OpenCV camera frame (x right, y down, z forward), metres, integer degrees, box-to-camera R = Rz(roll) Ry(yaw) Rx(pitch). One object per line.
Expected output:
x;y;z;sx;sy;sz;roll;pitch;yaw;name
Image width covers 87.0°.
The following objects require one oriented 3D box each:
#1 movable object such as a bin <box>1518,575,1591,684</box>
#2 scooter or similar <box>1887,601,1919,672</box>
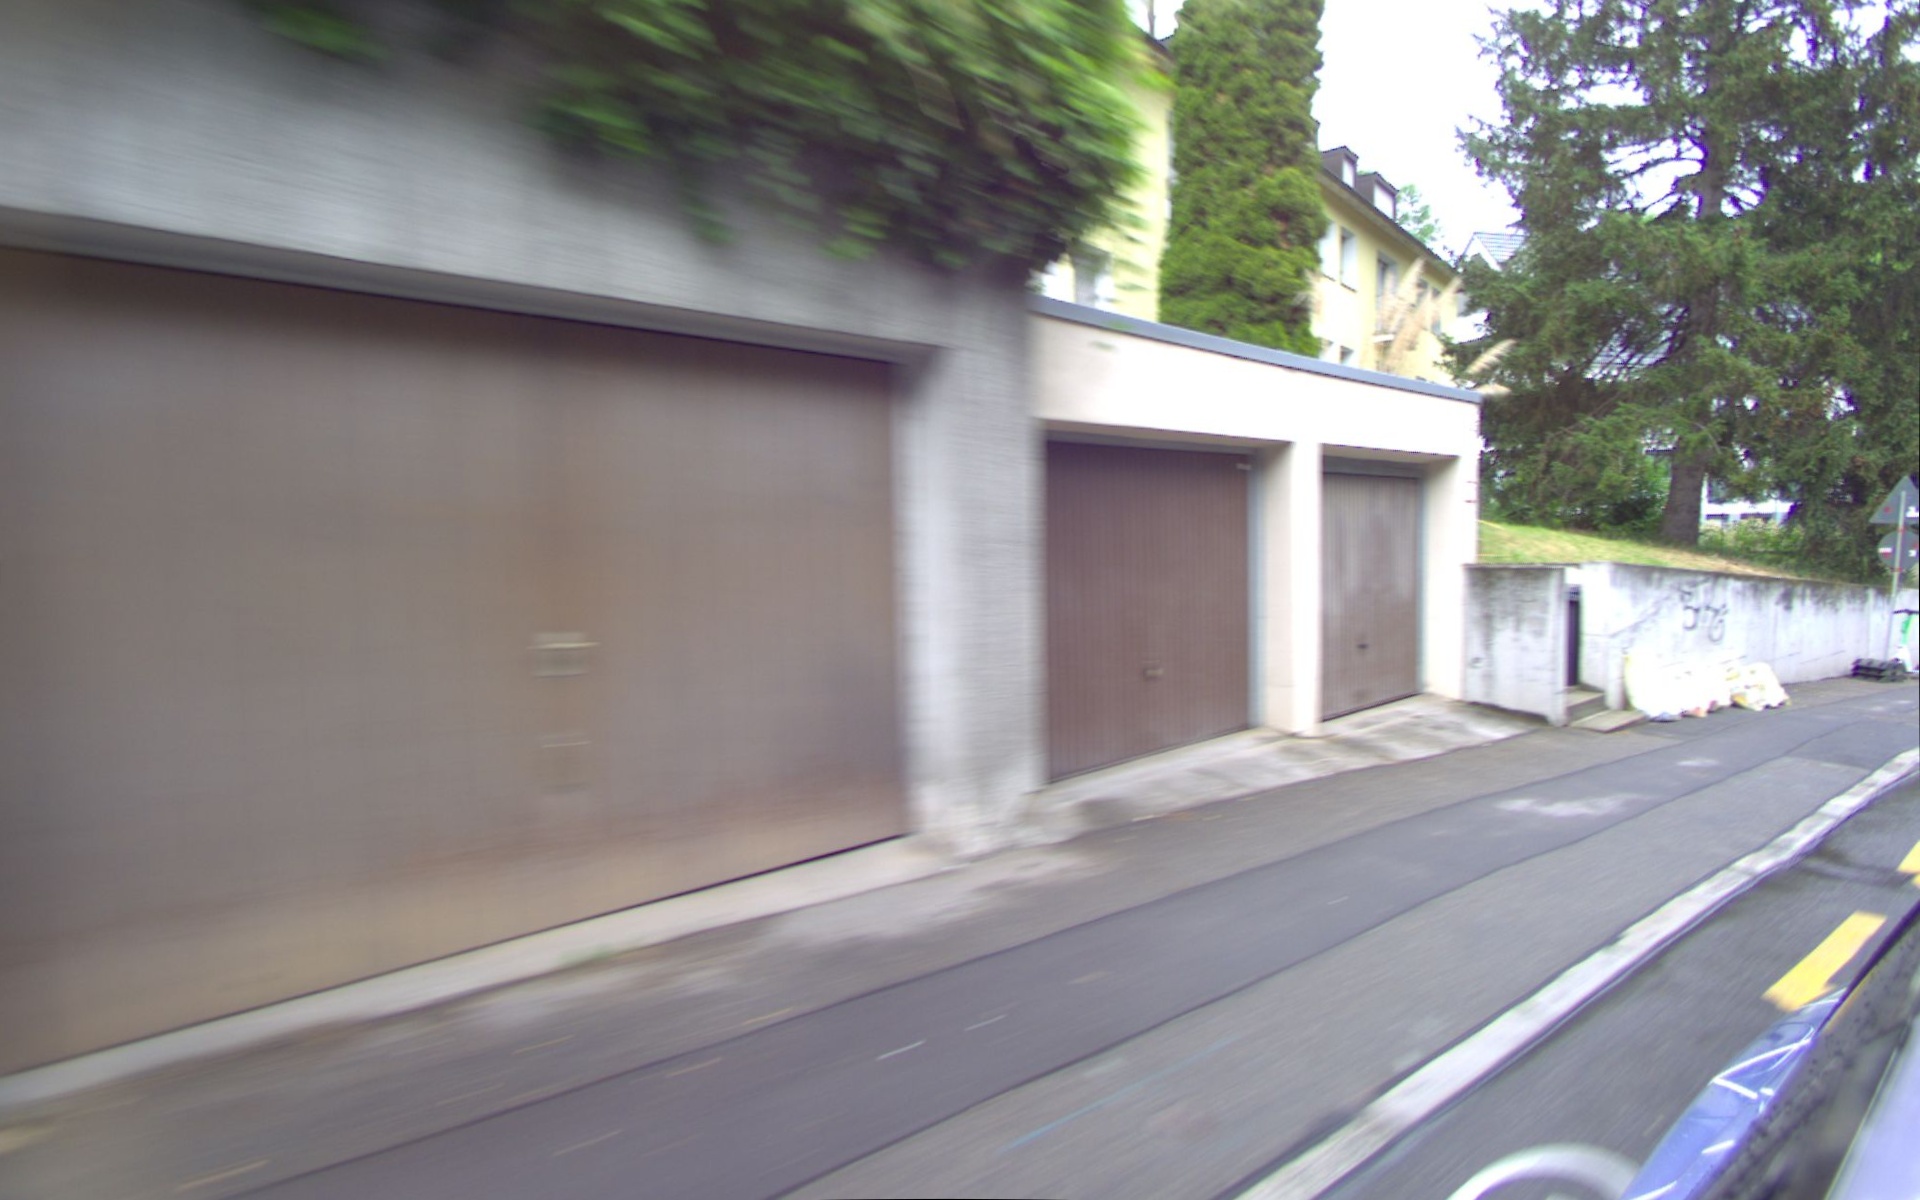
6.344;0.301;10.803;0.484;1.105;0.482;1;3;-39;movable object such as a bin
16.327;0.614;17.128;1.344;1.146;0.600;1;3;-34;scooter or similar
